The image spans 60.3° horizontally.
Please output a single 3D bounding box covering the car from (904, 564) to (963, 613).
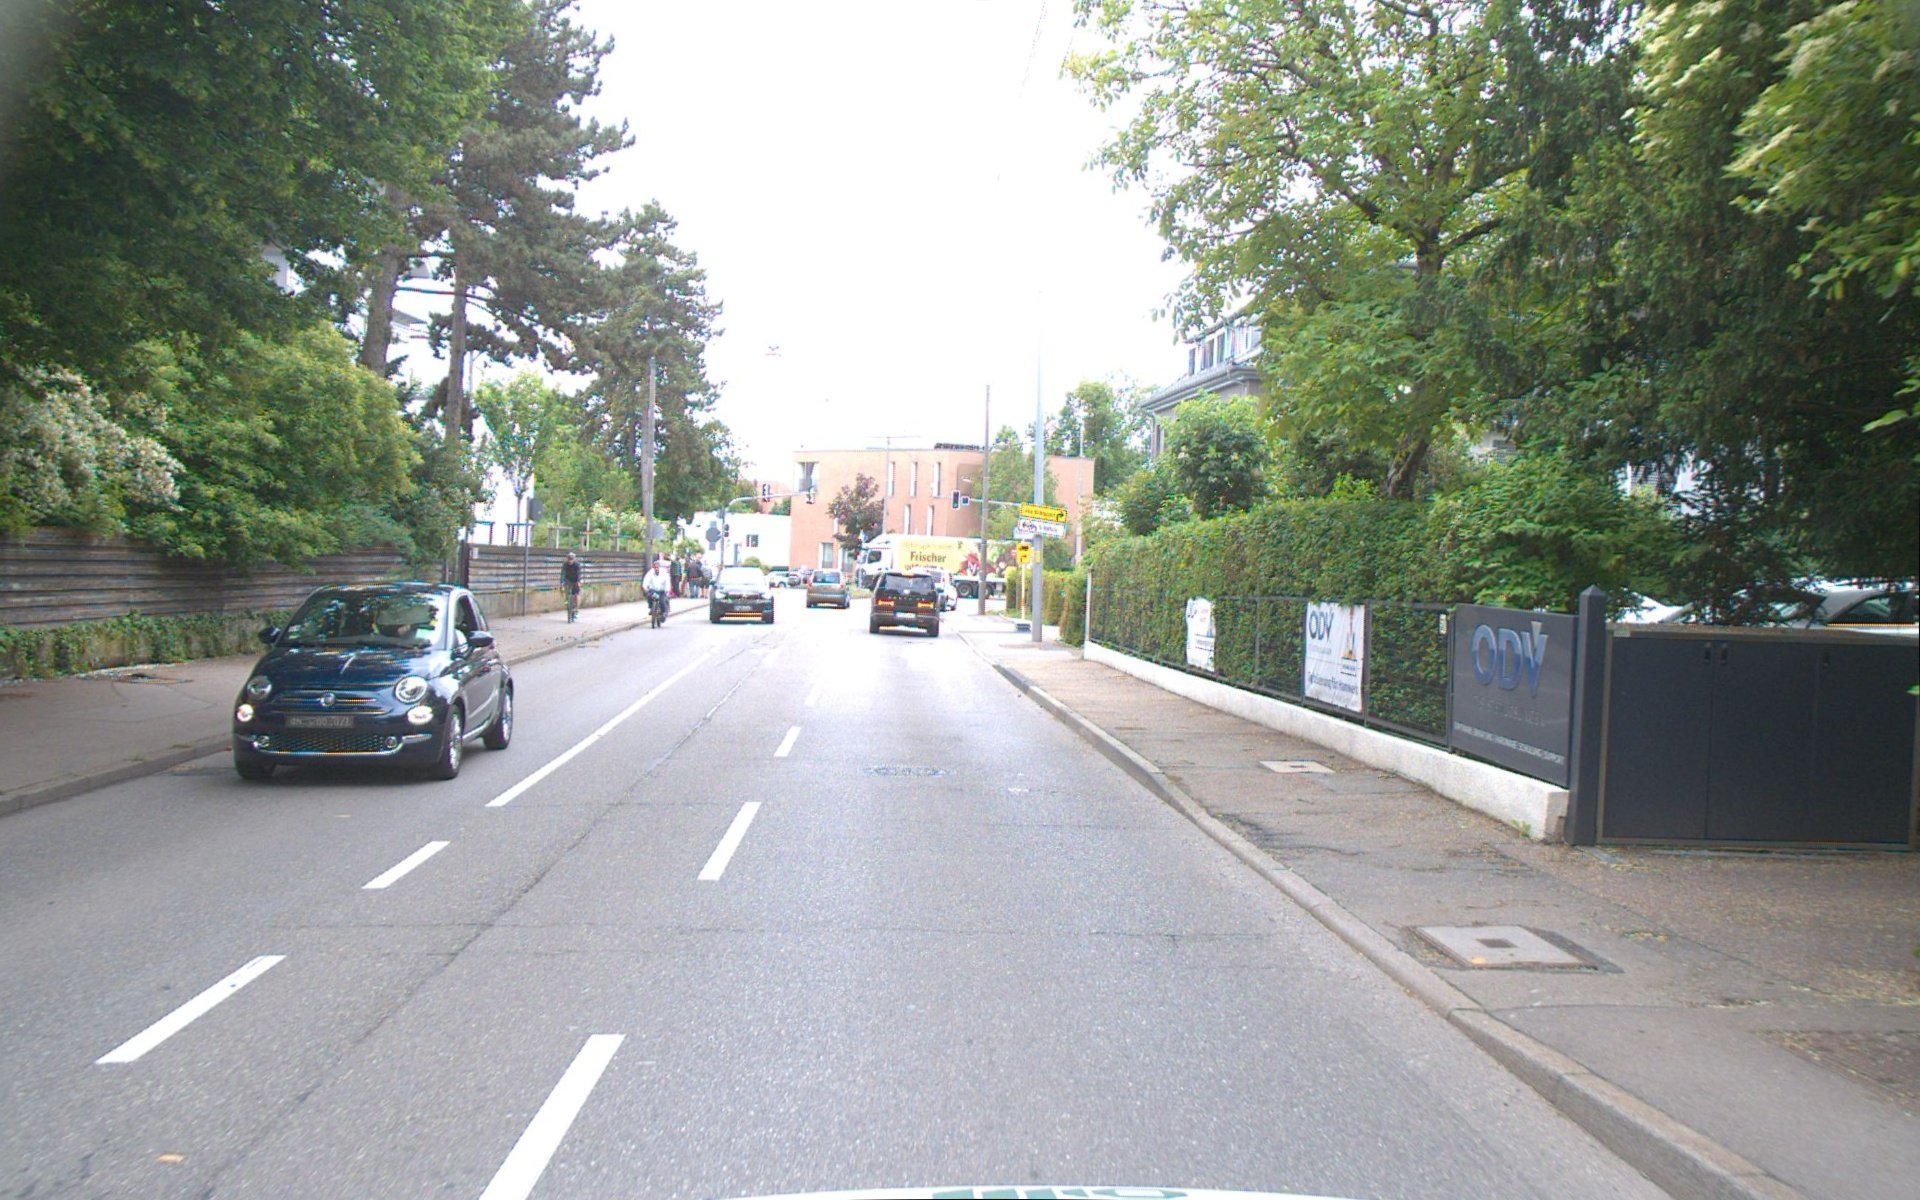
[{"bbox_3d":[-1.225,-0.567,78.064,1.921,2.047,4.432,6,2,8],"label":"car"}]

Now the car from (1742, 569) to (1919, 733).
[{"bbox_3d":[9.202,0.468,15.668,2.931,1.478,1.349,1,1,0],"label":"car"}]

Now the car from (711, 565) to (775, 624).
[{"bbox_3d":[-6.552,-0.197,49.844,1.797,1.659,4.276,1,1,-8],"label":"car"}]

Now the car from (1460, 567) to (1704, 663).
[{"bbox_3d":[11.001,0.243,29.541,3.903,1.489,2.001,2,1,17],"label":"car"}]

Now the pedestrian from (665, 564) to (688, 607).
[{"bbox_3d":[-12.609,-0.638,73.528,0.743,1.869,0.608,2,1,-32],"label":"pedestrian"}]

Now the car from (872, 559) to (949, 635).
[{"bbox_3d":[-1.372,-0.068,45.333,1.954,1.914,3.998,2,0,-3],"label":"car"}]

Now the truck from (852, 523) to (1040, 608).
[{"bbox_3d":[-0.891,-2.194,106.491,11.550,4.816,3.126,3,1,-12],"label":"truck"}]

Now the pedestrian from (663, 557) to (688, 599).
[{"bbox_3d":[-12.647,-0.986,73.533,0.805,1.794,0.861,2,1,-26],"label":"pedestrian"}]

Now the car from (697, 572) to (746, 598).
[{"bbox_3d":[-21.337,-1.342,147.828,3.927,2.048,1.989,2,1,-19],"label":"car"}]

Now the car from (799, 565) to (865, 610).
[{"bbox_3d":[-5.344,-0.527,69.593,1.853,1.735,4.003,3,1,8],"label":"car"}]

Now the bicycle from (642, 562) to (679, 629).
[{"bbox_3d":[-8.152,-0.125,45.103,0.744,1.775,1.870,1,1,-4],"label":"bicycle"}]

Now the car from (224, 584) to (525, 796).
[{"bbox_3d":[-4.680,0.636,13.701,1.688,1.497,3.524,1,1,-9],"label":"car"}]

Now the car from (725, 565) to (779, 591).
[{"bbox_3d":[-17.356,-1.834,137.892,3.946,2.048,1.980,1,1,-31],"label":"car"}]

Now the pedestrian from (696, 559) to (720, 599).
[{"bbox_3d":[-11.368,-0.964,74.680,0.683,1.764,0.748,3,1,41],"label":"pedestrian"}]

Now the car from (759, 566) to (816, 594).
[{"bbox_3d":[-13.652,-1.575,130.878,3.947,2.048,1.979,2,1,-31],"label":"car"}]

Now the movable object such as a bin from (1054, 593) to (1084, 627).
[{"bbox_3d":[3.778,0.353,57.443,0.709,1.092,0.672,4,-1,-40],"label":"movable object such as a bin"}]

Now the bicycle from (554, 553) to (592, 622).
[{"bbox_3d":[-9.958,-0.328,42.626,0.550,1.705,1.979,3,1,-4],"label":"bicycle"}]
